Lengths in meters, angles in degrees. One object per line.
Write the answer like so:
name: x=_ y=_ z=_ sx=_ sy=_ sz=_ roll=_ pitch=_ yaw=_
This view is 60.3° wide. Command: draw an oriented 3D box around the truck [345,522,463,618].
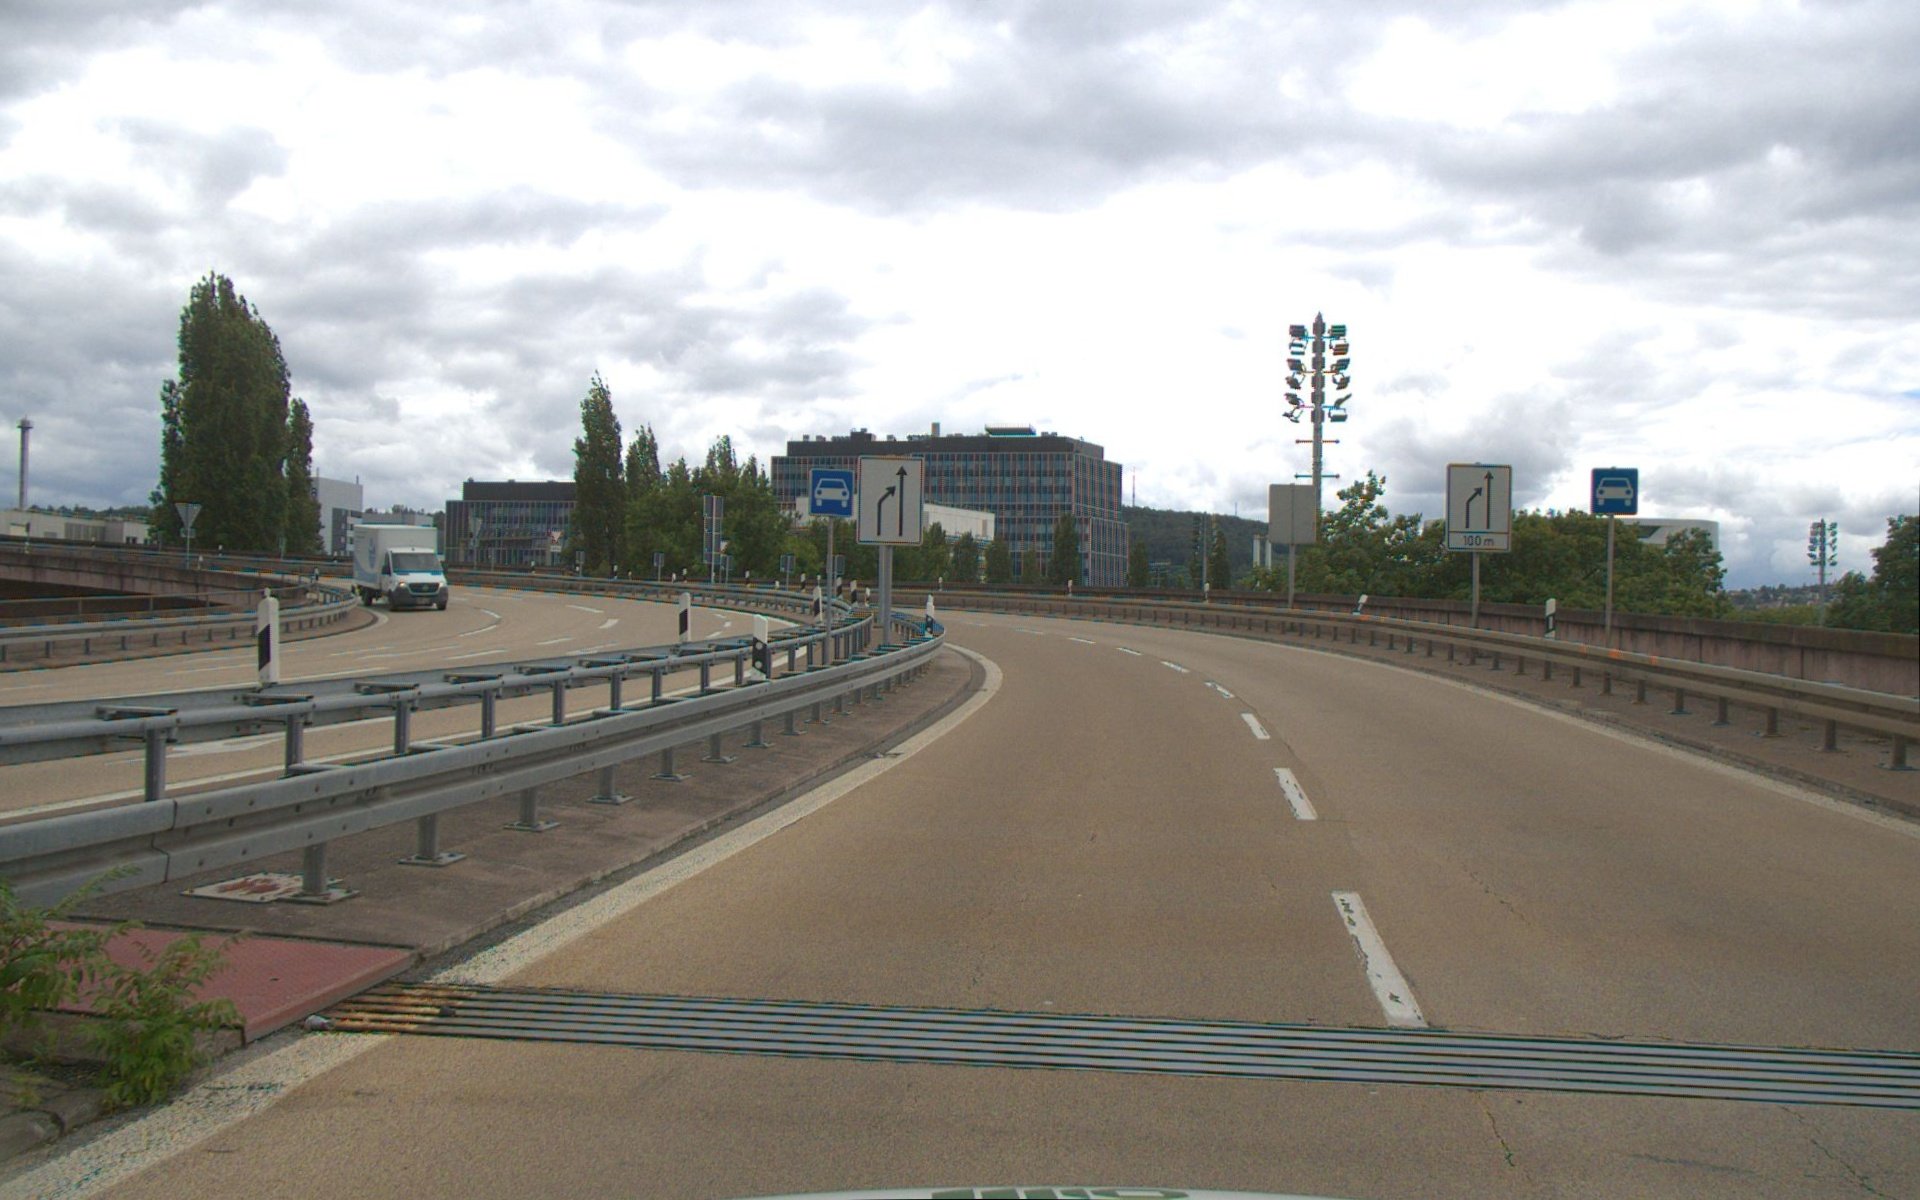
truck: x=-20.934 y=-1.128 z=62.026 sx=2.325 sy=3.320 sz=6.912 roll=3 pitch=-1 yaw=-34
